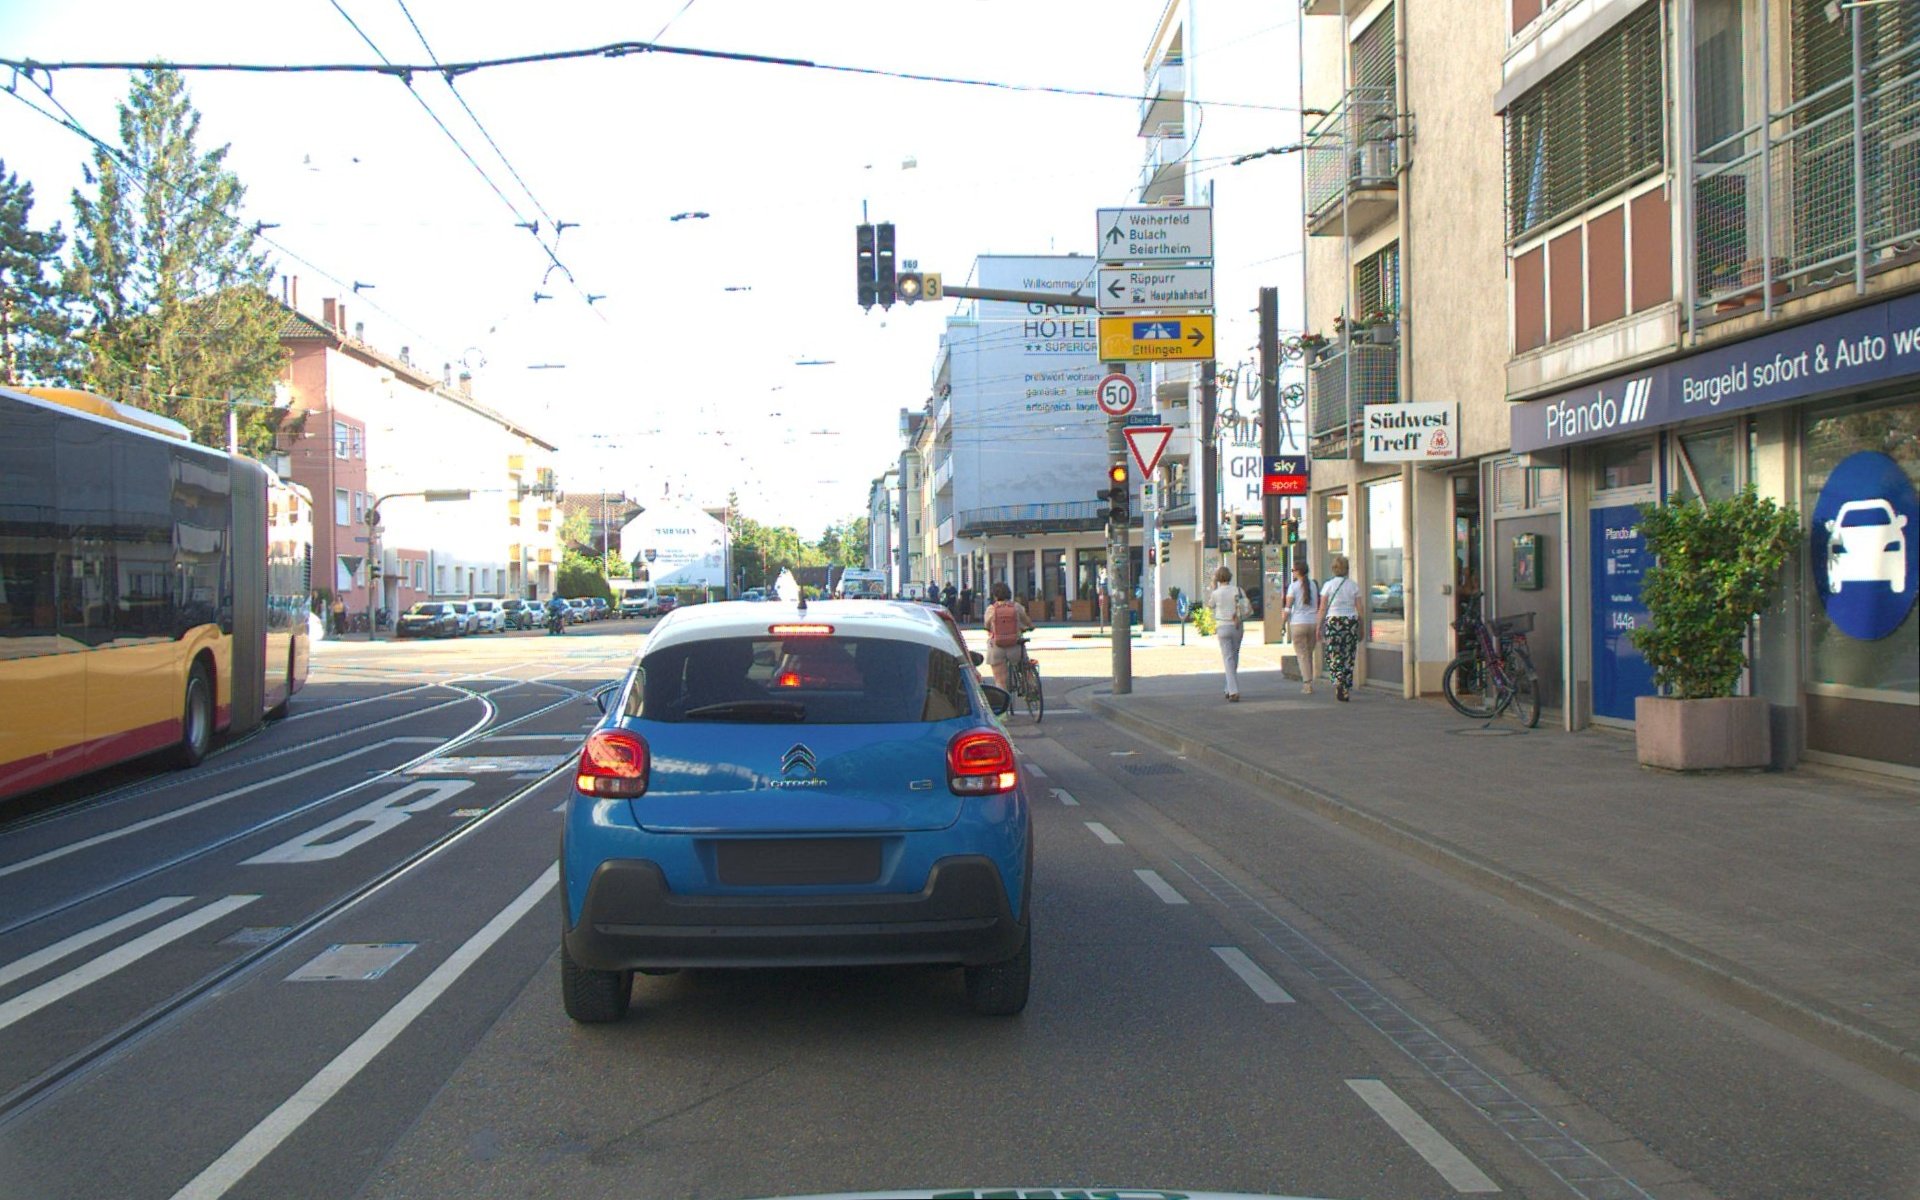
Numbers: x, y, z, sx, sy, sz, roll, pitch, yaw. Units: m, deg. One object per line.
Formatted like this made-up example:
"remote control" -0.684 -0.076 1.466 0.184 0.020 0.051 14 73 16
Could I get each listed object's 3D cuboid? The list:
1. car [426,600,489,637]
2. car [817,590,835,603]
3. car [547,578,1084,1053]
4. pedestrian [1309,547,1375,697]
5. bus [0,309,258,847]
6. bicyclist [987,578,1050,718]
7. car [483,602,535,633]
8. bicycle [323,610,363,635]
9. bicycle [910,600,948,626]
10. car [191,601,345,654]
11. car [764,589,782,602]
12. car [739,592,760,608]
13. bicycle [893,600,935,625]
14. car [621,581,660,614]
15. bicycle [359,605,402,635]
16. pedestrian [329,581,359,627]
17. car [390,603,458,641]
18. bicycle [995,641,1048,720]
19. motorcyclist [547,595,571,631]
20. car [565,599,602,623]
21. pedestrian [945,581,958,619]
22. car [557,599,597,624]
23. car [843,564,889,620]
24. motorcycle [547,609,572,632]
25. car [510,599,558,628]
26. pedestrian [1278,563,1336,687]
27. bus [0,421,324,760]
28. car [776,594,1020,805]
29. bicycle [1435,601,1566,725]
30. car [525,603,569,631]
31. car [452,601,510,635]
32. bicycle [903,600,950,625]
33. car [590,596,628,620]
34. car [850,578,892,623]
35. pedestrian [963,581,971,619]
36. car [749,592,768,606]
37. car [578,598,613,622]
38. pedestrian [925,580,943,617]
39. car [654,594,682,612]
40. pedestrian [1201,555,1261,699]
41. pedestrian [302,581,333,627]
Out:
"car" -22.492 0.800 74.190 1.874 1.523 3.996 -1 0 -5
"car" -14.545 -0.383 179.342 1.722 1.281 3.826 -1 0 -8
"car" -0.674 0.670 7.283 1.710 1.488 3.994 0 0 -7
"pedestrian" 4.494 0.253 19.474 0.530 1.701 0.650 -3 0 -3
"bus" -7.312 -0.122 11.024 2.673 3.213 10.168 -1 0 -11
"bicyclist" 0.712 0.577 20.279 0.711 1.674 0.790 -1 0 -1
"car" -23.307 0.888 85.583 1.874 1.523 3.996 -1 0 -5
"bicycle" -25.069 0.910 67.259 0.718 0.968 2.596 -1 0 -2
"bicycle" -1.245 0.515 65.954 1.473 0.973 0.702 -1 0 1
"car" -22.770 0.877 54.562 1.820 1.601 4.381 -1 0 38
"car" -24.317 -0.607 215.118 1.957 1.713 3.990 -2 0 -10
"car" -21.511 -0.039 169.061 1.982 1.552 3.996 -1 0 -5
"bicycle" -1.884 0.519 68.362 1.684 0.973 0.702 -1 0 1
"car" -22.954 -0.220 118.869 2.164 2.290 4.672 -1 0 -5
"bicycle" -25.695 0.877 73.418 0.831 1.247 3.302 -1 0 -2
"pedestrian" -23.516 0.141 63.107 0.826 1.720 0.737 -1 0 2
"car" -22.133 0.880 68.469 1.874 1.458 3.995 -1 0 -6
"bicycle" 0.758 0.983 20.672 0.489 0.879 1.748 -1 0 -3
"motorcyclist" -16.206 0.525 66.856 0.704 1.402 0.911 -1 0 -1
"car" -25.179 0.733 110.668 1.874 1.523 3.996 -1 0 -5
"pedestrian" -0.350 -0.015 69.963 0.482 1.583 0.383 -1 0 -4
"car" -24.453 0.729 105.680 1.874 1.523 3.996 -1 0 -5
"car" -4.149 -0.332 72.360 1.954 2.366 3.997 0 0 -4
"motorcycle" -16.213 0.817 67.012 0.603 0.879 1.670 -1 0 -1
"car" -23.588 0.715 91.717 1.874 1.523 3.996 -1 0 -5
"pedestrian" 4.431 0.309 21.125 0.530 1.534 0.611 -3 2 -3
"bus" -9.271 -0.120 19.663 2.695 3.217 7.540 -1 0 -18
"car" -0.464 0.691 13.653 1.703 1.445 3.999 -1 0 -1
"bicycle" 5.115 0.567 15.759 0.519 1.091 1.809 -1 0 -4
"car" -24.251 0.986 97.279 1.874 1.523 3.996 -1 0 -5
"car" -22.769 0.826 78.809 1.874 1.523 3.996 -1 0 -5
"bicycle" -1.350 0.515 67.012 1.835 0.973 0.702 -1 0 1
"car" -25.703 0.586 121.178 1.990 1.647 4.508 -1 0 -3
"car" -3.652 0.018 67.452 1.698 1.780 3.211 0 0 -4
"pedestrian" 0.292 -0.009 70.134 0.279 1.583 0.304 -1 0 -10
"car" -22.668 -0.110 186.418 1.982 1.552 3.996 -1 0 -5
"car" -25.497 0.681 115.756 1.833 1.601 3.997 -1 0 -4
"pedestrian" -1.162 -0.057 72.675 0.637 1.583 0.490 -1 0 -23
"car" -25.406 0.246 144.152 1.982 1.552 3.996 -1 0 -5
"pedestrian" 3.316 0.321 20.258 0.530 1.701 0.624 -3 2 -3
"pedestrian" -24.383 0.144 62.775 0.826 1.720 0.737 -1 0 2
